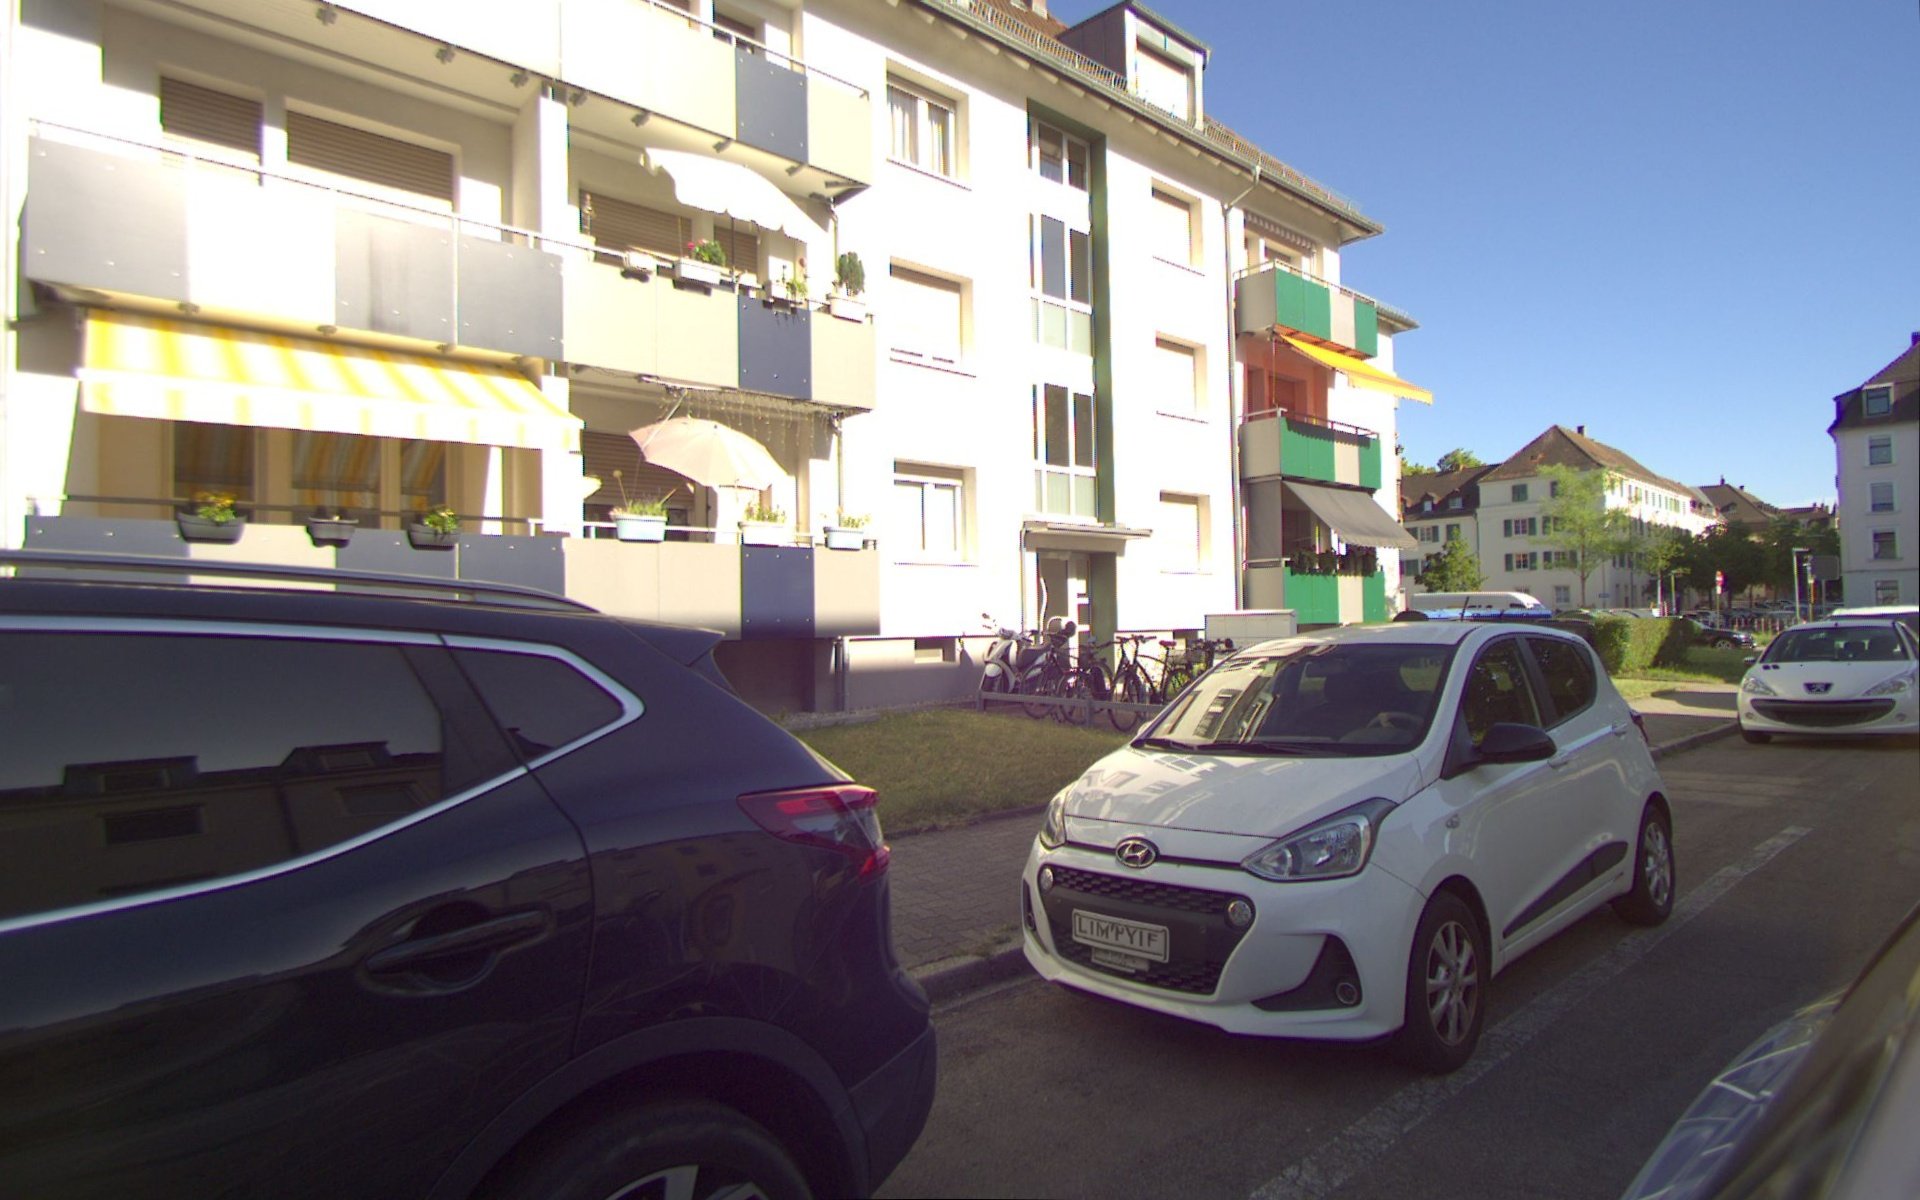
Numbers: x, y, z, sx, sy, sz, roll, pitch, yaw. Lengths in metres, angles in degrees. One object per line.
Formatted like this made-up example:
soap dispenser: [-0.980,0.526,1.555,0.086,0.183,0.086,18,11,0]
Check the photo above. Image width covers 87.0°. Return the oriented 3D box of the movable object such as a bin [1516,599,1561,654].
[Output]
movable object such as a bin: [15.925,0.722,27.872,0.907,1.466,0.864,1,-1,-45]

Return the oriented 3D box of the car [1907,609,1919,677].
car: [24.153,0.953,24.297,3.885,1.557,1.725,0,-4,-43]

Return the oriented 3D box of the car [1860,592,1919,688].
car: [20.002,0.750,20.656,4.180,1.824,1.852,0,-5,-42]

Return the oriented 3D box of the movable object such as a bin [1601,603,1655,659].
movable object such as a bin: [16.594,0.762,25.137,0.852,1.342,0.920,1,-1,-42]

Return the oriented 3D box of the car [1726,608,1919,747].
car: [10.917,0.847,12.351,4.027,1.437,1.692,0,-4,-42]

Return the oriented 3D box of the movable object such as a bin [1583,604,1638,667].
movable object such as a bin: [15.652,0.837,24.358,0.852,1.466,0.920,1,-1,-42]

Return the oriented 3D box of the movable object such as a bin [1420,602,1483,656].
movable object such as a bin: [13.921,0.799,28.673,1.257,1.466,1.237,0,-1,-43]

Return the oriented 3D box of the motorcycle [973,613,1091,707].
motorcycle: [1.048,0.813,14.401,1.942,1.254,0.442,0,-1,-41]

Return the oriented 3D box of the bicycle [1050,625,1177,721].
bicycle: [1.986,0.890,12.926,1.840,1.096,0.539,0,1,-42]

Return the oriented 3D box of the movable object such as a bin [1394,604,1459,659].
movable object such as a bin: [12.832,0.833,27.816,1.257,1.466,1.237,0,-1,-43]

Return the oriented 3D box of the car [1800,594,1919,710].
car: [14.793,0.739,15.853,4.502,1.613,1.802,0,-3,-42]

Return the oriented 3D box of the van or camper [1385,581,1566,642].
van or camper: [22.972,0.518,45.452,2.137,2.532,6.979,0,-1,-39]

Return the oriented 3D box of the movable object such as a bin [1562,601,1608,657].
movable object such as a bin: [16.753,0.756,27.121,0.907,1.466,0.864,1,-1,-45]

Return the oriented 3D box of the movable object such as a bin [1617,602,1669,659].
movable object such as a bin: [17.502,0.771,25.930,0.852,1.416,0.920,1,-1,-42]

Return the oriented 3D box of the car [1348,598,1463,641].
car: [22.432,0.993,51.157,1.963,2.039,4.992,0,-1,-38]

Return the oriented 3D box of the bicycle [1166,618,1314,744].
bicycle: [2.968,0.798,10.616,1.839,1.185,0.545,0,0,-40]

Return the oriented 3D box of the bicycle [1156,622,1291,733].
bicycle: [3.060,0.846,11.645,1.840,1.147,0.578,0,0,-42]

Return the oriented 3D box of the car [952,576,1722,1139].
car: [1.969,0.760,4.700,3.787,1.529,1.715,0,-4,-42]

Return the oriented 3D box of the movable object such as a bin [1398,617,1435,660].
movable object such as a bin: [12.127,1.012,26.904,0.570,1.066,0.717,1,1,-43]

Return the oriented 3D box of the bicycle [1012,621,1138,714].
bicycle: [1.561,0.864,13.521,1.840,1.130,0.597,0,-1,-42]

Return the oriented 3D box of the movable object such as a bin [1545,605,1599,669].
movable object such as a bin: [14.358,0.850,23.742,0.907,1.466,0.864,1,-1,-45]

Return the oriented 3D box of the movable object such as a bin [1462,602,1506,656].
movable object such as a bin: [15.055,0.822,29.088,0.906,1.539,0.865,1,-1,-42]

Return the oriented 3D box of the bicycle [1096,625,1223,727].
bicycle: [2.469,0.889,12.396,1.840,1.135,0.544,0,0,-42]

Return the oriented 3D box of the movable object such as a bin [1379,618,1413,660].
movable object such as a bin: [11.457,1.014,26.609,0.570,1.066,0.627,1,1,-43]

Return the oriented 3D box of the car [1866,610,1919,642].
car: [44.344,1.194,47.506,1.656,1.459,3.767,-1,0,26]

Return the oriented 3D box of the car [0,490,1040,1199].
car: [-1.989,0.687,1.344,4.278,1.598,1.725,0,-1,-42]

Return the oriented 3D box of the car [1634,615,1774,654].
car: [28.265,1.283,38.539,1.769,1.367,3.996,0,0,-39]
